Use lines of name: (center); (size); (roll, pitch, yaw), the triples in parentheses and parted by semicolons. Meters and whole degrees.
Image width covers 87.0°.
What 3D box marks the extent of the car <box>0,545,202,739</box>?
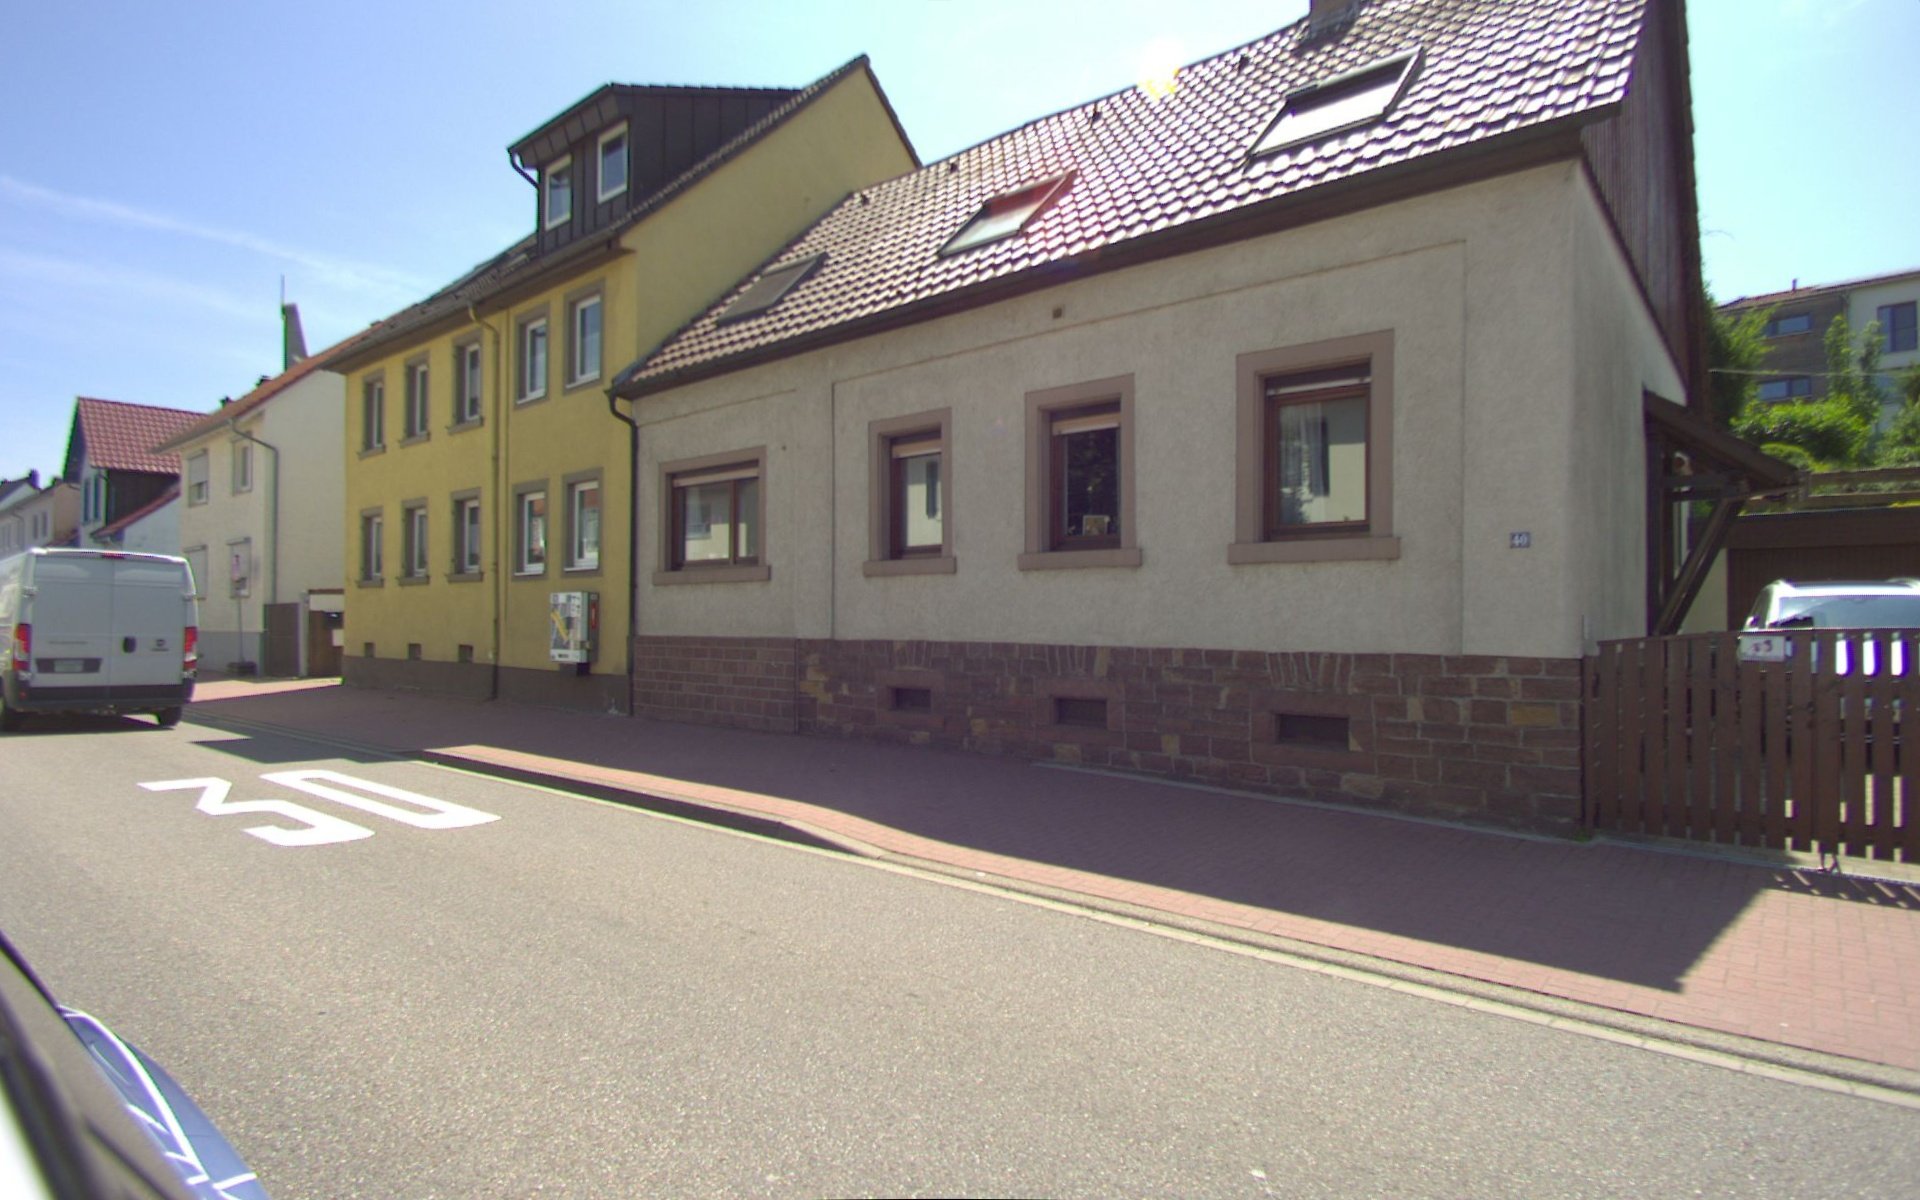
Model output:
car: (-13.861, 0.616, 15.628); (6.002, 2.474, 2.048); (-1, -3, 40)

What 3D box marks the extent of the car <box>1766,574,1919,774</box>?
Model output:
car: (9.118, 0.635, 9.944); (1.678, 1.632, 4.129); (-1, -2, 41)
